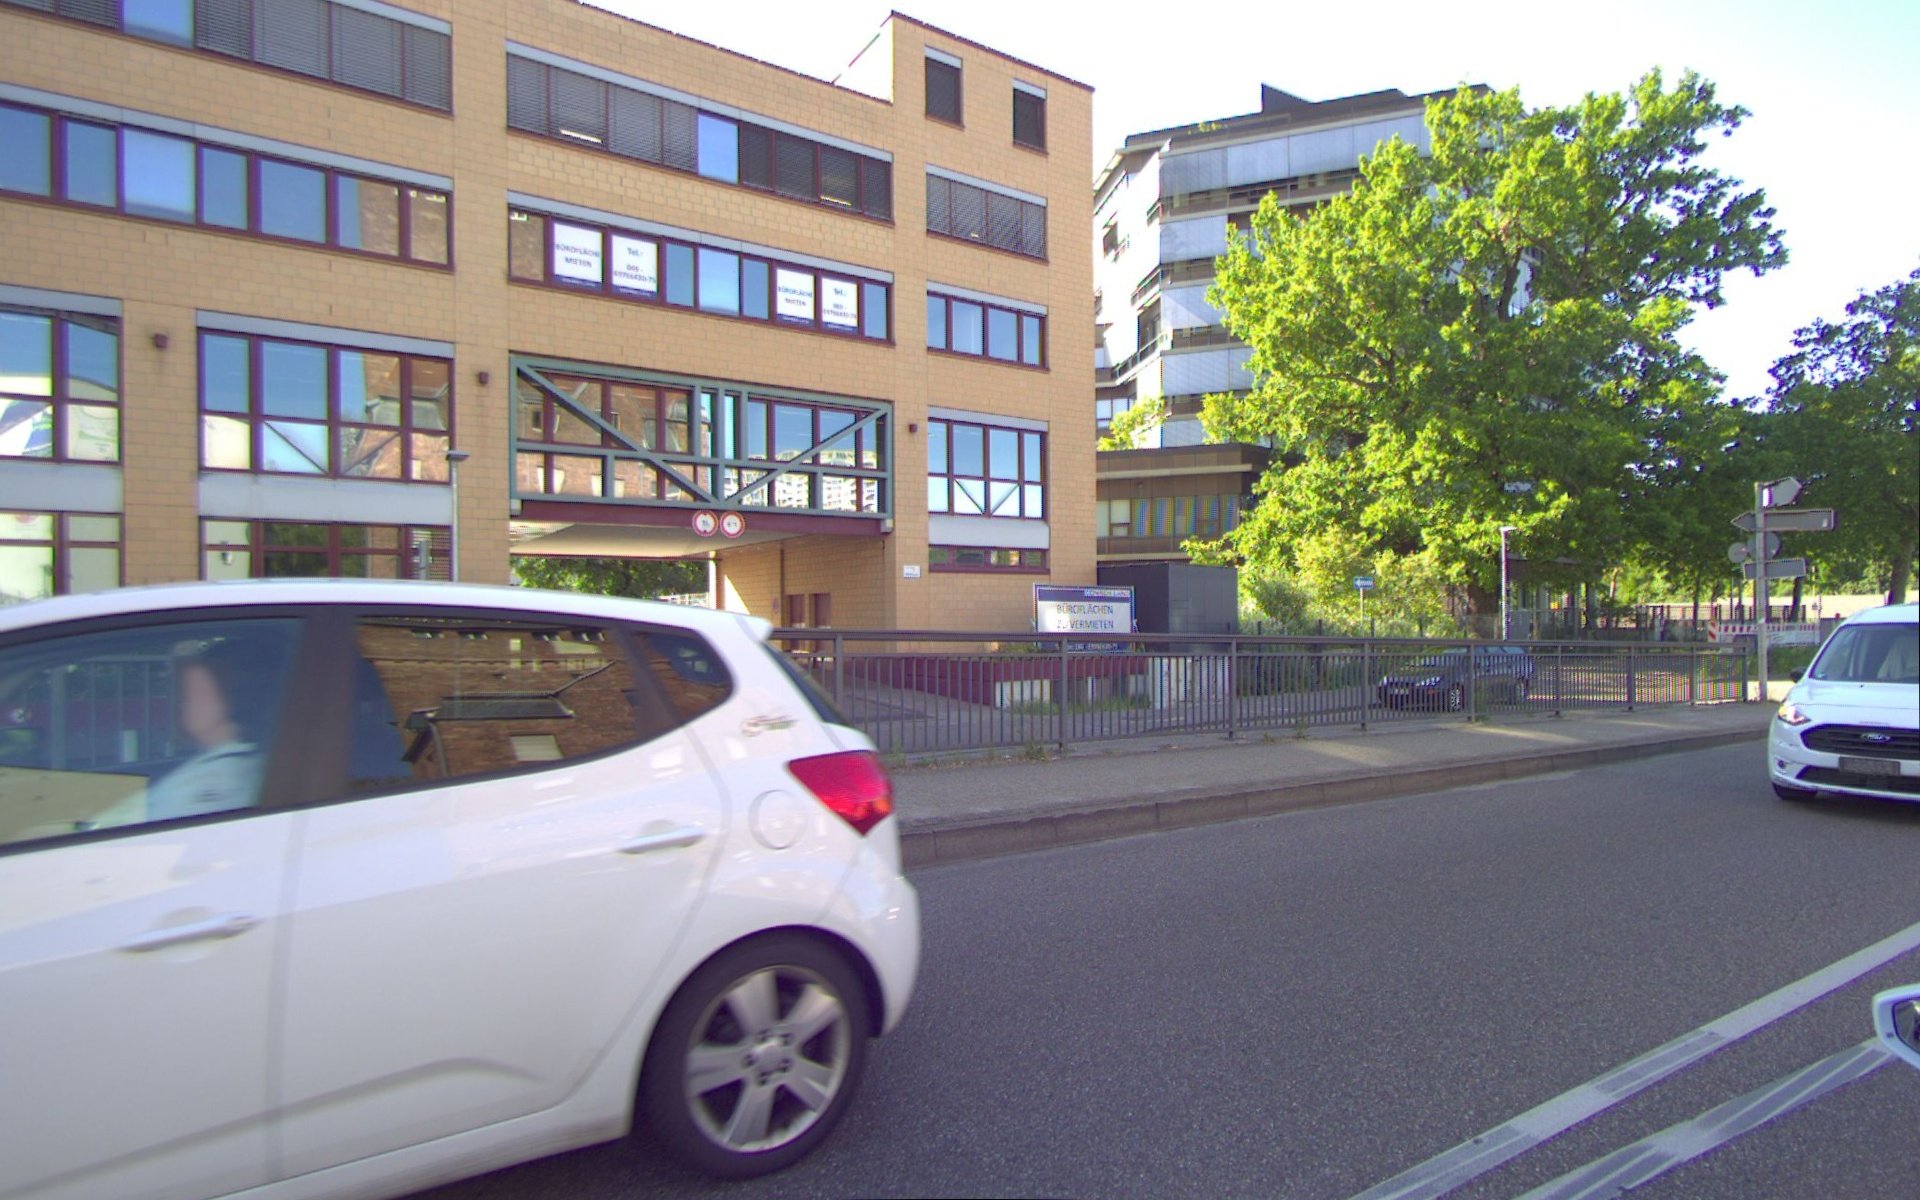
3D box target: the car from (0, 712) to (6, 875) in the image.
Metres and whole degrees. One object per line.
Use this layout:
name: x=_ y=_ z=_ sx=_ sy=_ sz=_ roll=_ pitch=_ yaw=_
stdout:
car: x=-11.074 y=1.929 z=8.324 sx=4.311 sy=1.625 sz=1.809 roll=0 pitch=-1 yaw=-34

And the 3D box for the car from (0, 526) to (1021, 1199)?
car: x=-1.946 y=0.706 z=2.758 sx=3.958 sy=1.625 sz=1.809 roll=2 pitch=-2 yaw=-34

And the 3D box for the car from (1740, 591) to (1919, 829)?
car: x=9.332 y=0.864 z=9.312 sx=5.066 sy=1.825 sz=1.799 roll=0 pitch=-1 yaw=-34

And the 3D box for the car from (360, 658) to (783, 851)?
car: x=-4.753 y=1.728 z=12.581 sx=4.641 sy=1.781 sz=1.938 roll=0 pitch=0 yaw=-35

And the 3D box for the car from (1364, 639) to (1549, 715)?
car: x=11.750 y=1.742 z=23.703 sx=4.399 sy=1.523 sz=1.811 roll=0 pitch=-1 yaw=-31
